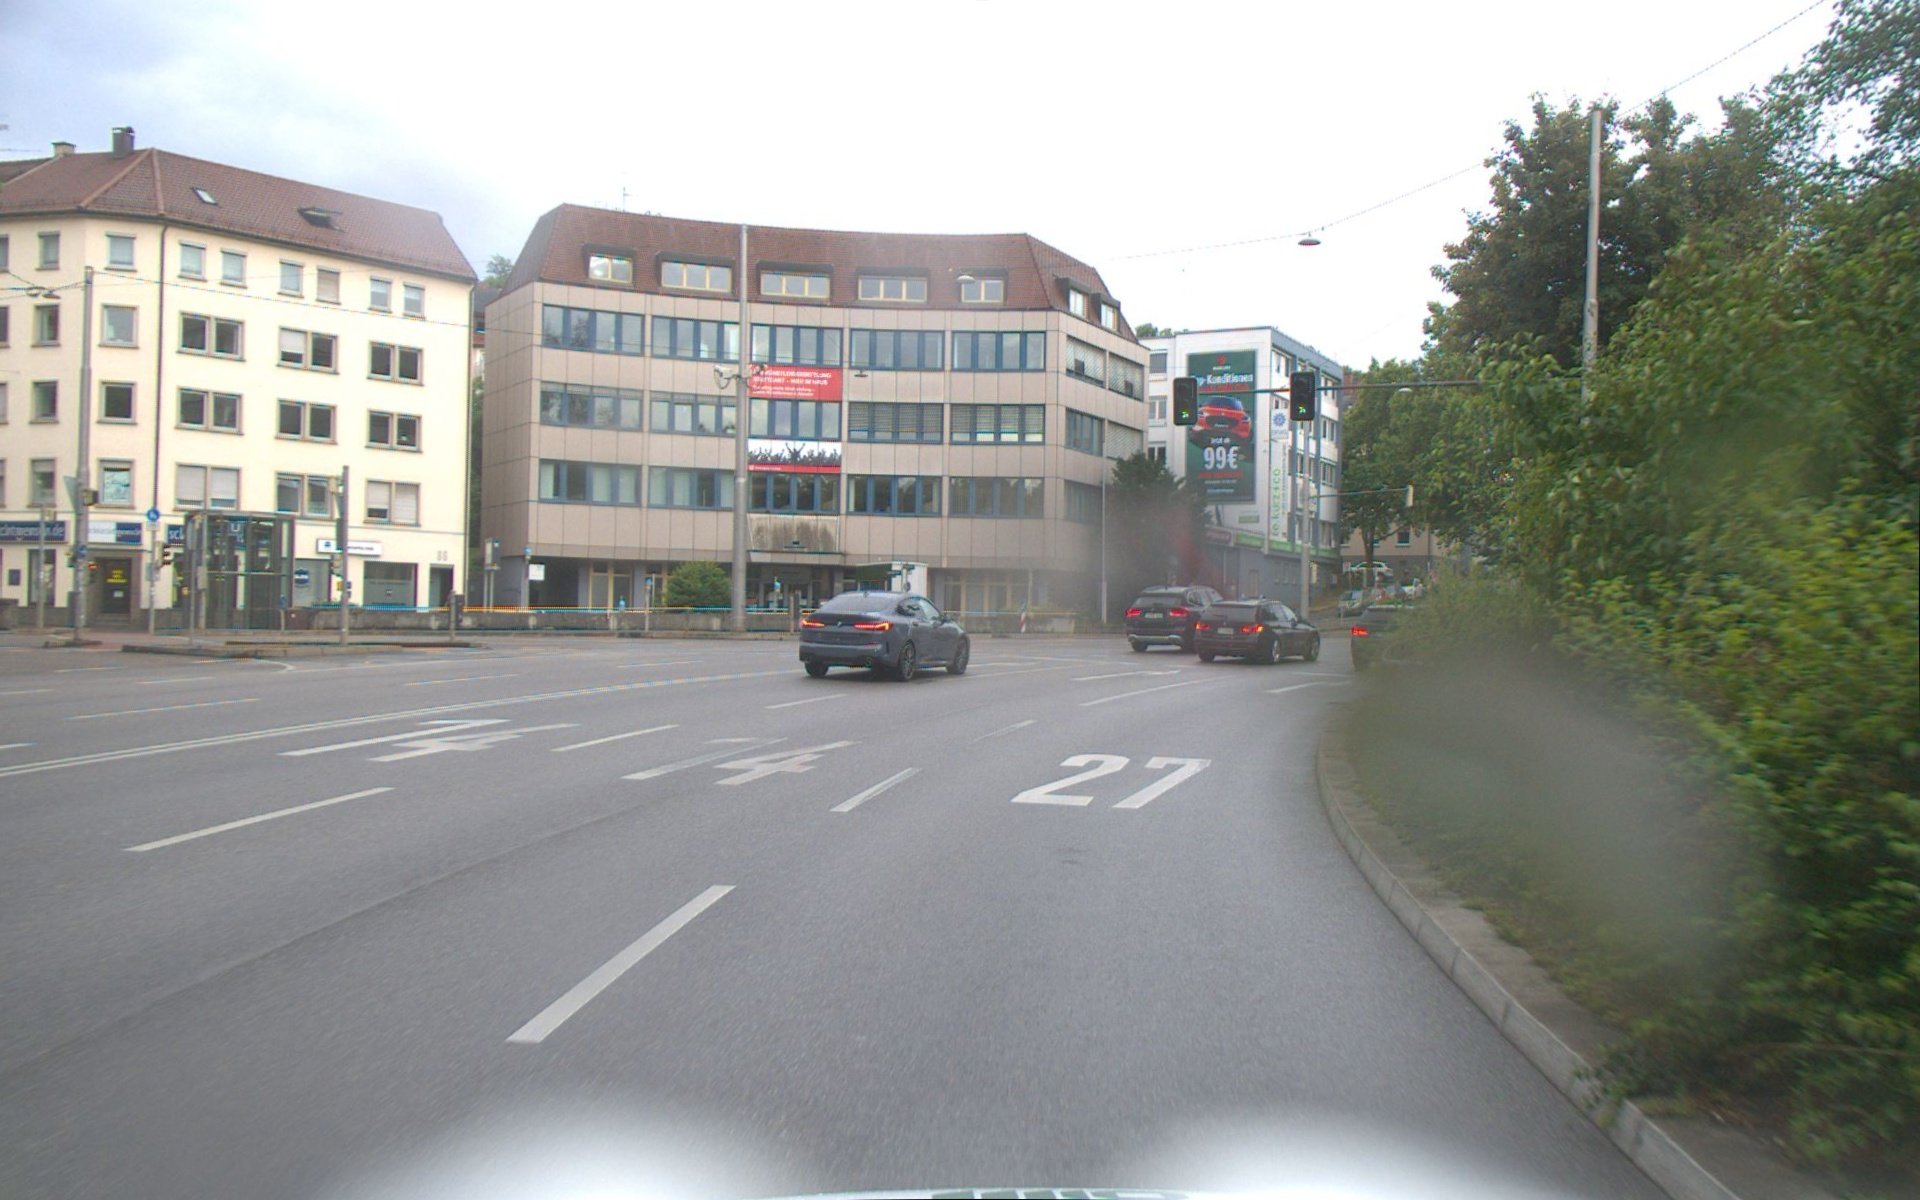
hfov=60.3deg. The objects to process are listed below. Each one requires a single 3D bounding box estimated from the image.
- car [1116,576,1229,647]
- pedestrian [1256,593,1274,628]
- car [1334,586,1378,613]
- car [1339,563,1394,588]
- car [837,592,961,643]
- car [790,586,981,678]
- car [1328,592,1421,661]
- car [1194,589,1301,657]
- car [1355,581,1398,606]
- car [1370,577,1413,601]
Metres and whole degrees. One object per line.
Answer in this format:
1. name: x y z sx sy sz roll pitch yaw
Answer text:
1. car: 5.521 0.320 42.527 1.862 1.723 3.998 0 -1 23
2. pedestrian: 18.316 0.638 99.250 0.823 2.049 0.980 0 -2 28
3. car: 26.116 -0.058 109.098 1.798 1.488 4.173 -1 3 28
4. car: 35.125 -2.119 142.905 4.328 2.041 1.999 0 -1 24
5. car: -2.348 0.693 64.008 4.378 1.876 1.980 1 -2 -30
6. car: -1.172 0.548 28.356 1.753 1.451 4.385 0 -1 20
7. car: 9.333 0.600 37.044 1.917 1.451 4.127 0 -1 16
8. car: 6.743 0.505 38.434 1.754 1.451 4.615 1 0 19
9. car: 28.699 -0.456 113.846 1.799 1.455 4.064 -1 3 30
10. car: 30.779 -0.794 117.920 1.800 1.455 4.060 -1 3 33
